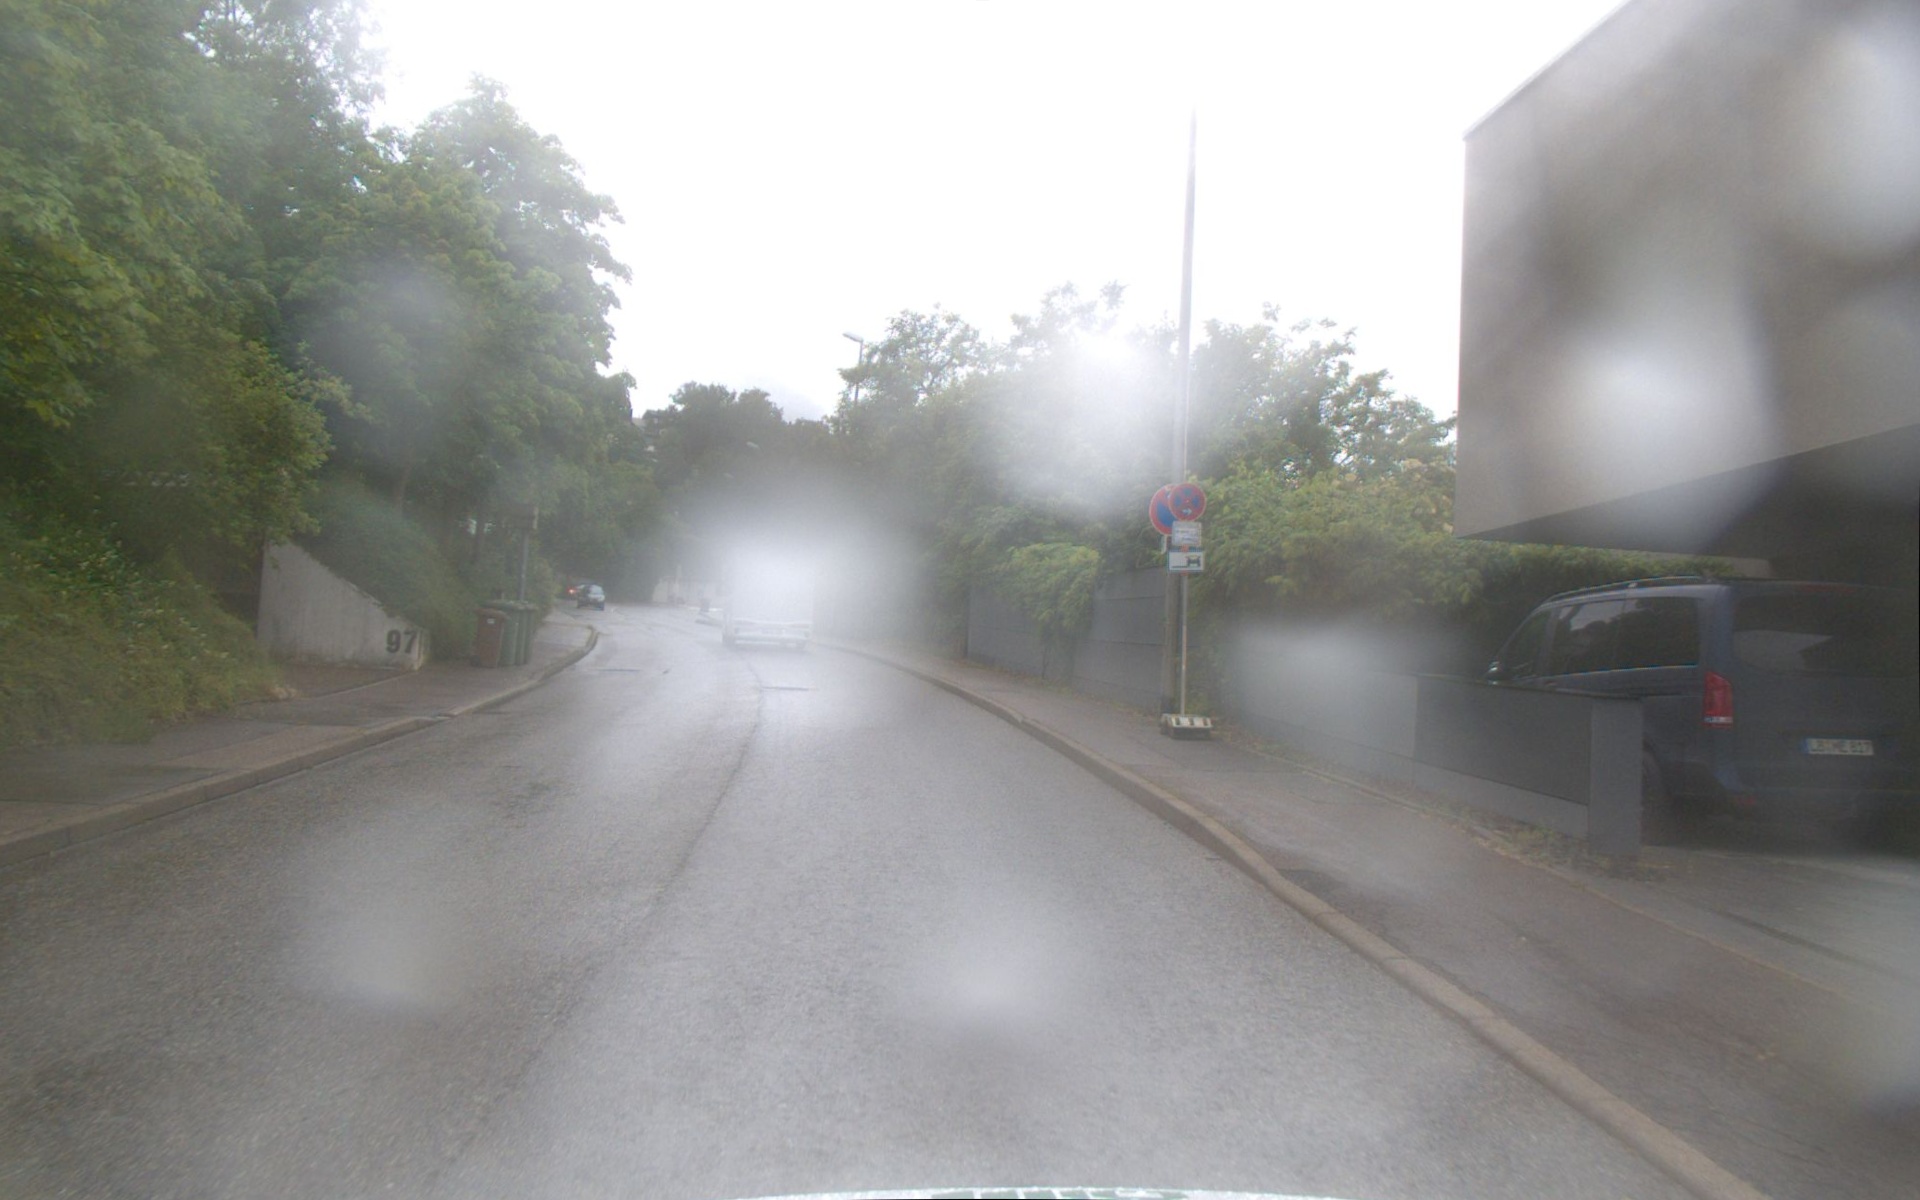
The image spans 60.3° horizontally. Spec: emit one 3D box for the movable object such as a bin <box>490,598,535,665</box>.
[{"bbox_3d":[-7.758,0.548,28.686,0.636,1.123,0.672,2,0,-7],"label":"movable object such as a bin"}]

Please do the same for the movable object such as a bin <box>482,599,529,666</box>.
[{"bbox_3d":[-7.679,0.549,27.945,0.636,1.099,0.672,2,0,-7],"label":"movable object such as a bin"}]

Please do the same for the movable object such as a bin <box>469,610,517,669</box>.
[{"bbox_3d":[-7.649,0.645,27.104,0.636,0.927,0.672,2,0,-7],"label":"movable object such as a bin"}]

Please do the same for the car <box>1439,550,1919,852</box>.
[{"bbox_3d":[5.743,0.803,13.390,1.955,1.975,4.766,1,-3,-6],"label":"car"}]

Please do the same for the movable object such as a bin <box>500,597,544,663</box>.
[{"bbox_3d":[-7.755,0.531,29.300,0.636,1.135,0.504,2,0,-8],"label":"movable object such as a bin"}]

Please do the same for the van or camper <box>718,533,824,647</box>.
[{"bbox_3d":[-5.448,-0.215,46.852,2.495,2.976,5.931,1,-1,-11],"label":"van or camper"}]

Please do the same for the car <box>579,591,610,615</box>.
[{"bbox_3d":[-22.391,0.188,101.454,1.620,1.409,3.522,3,0,-9],"label":"car"}]
